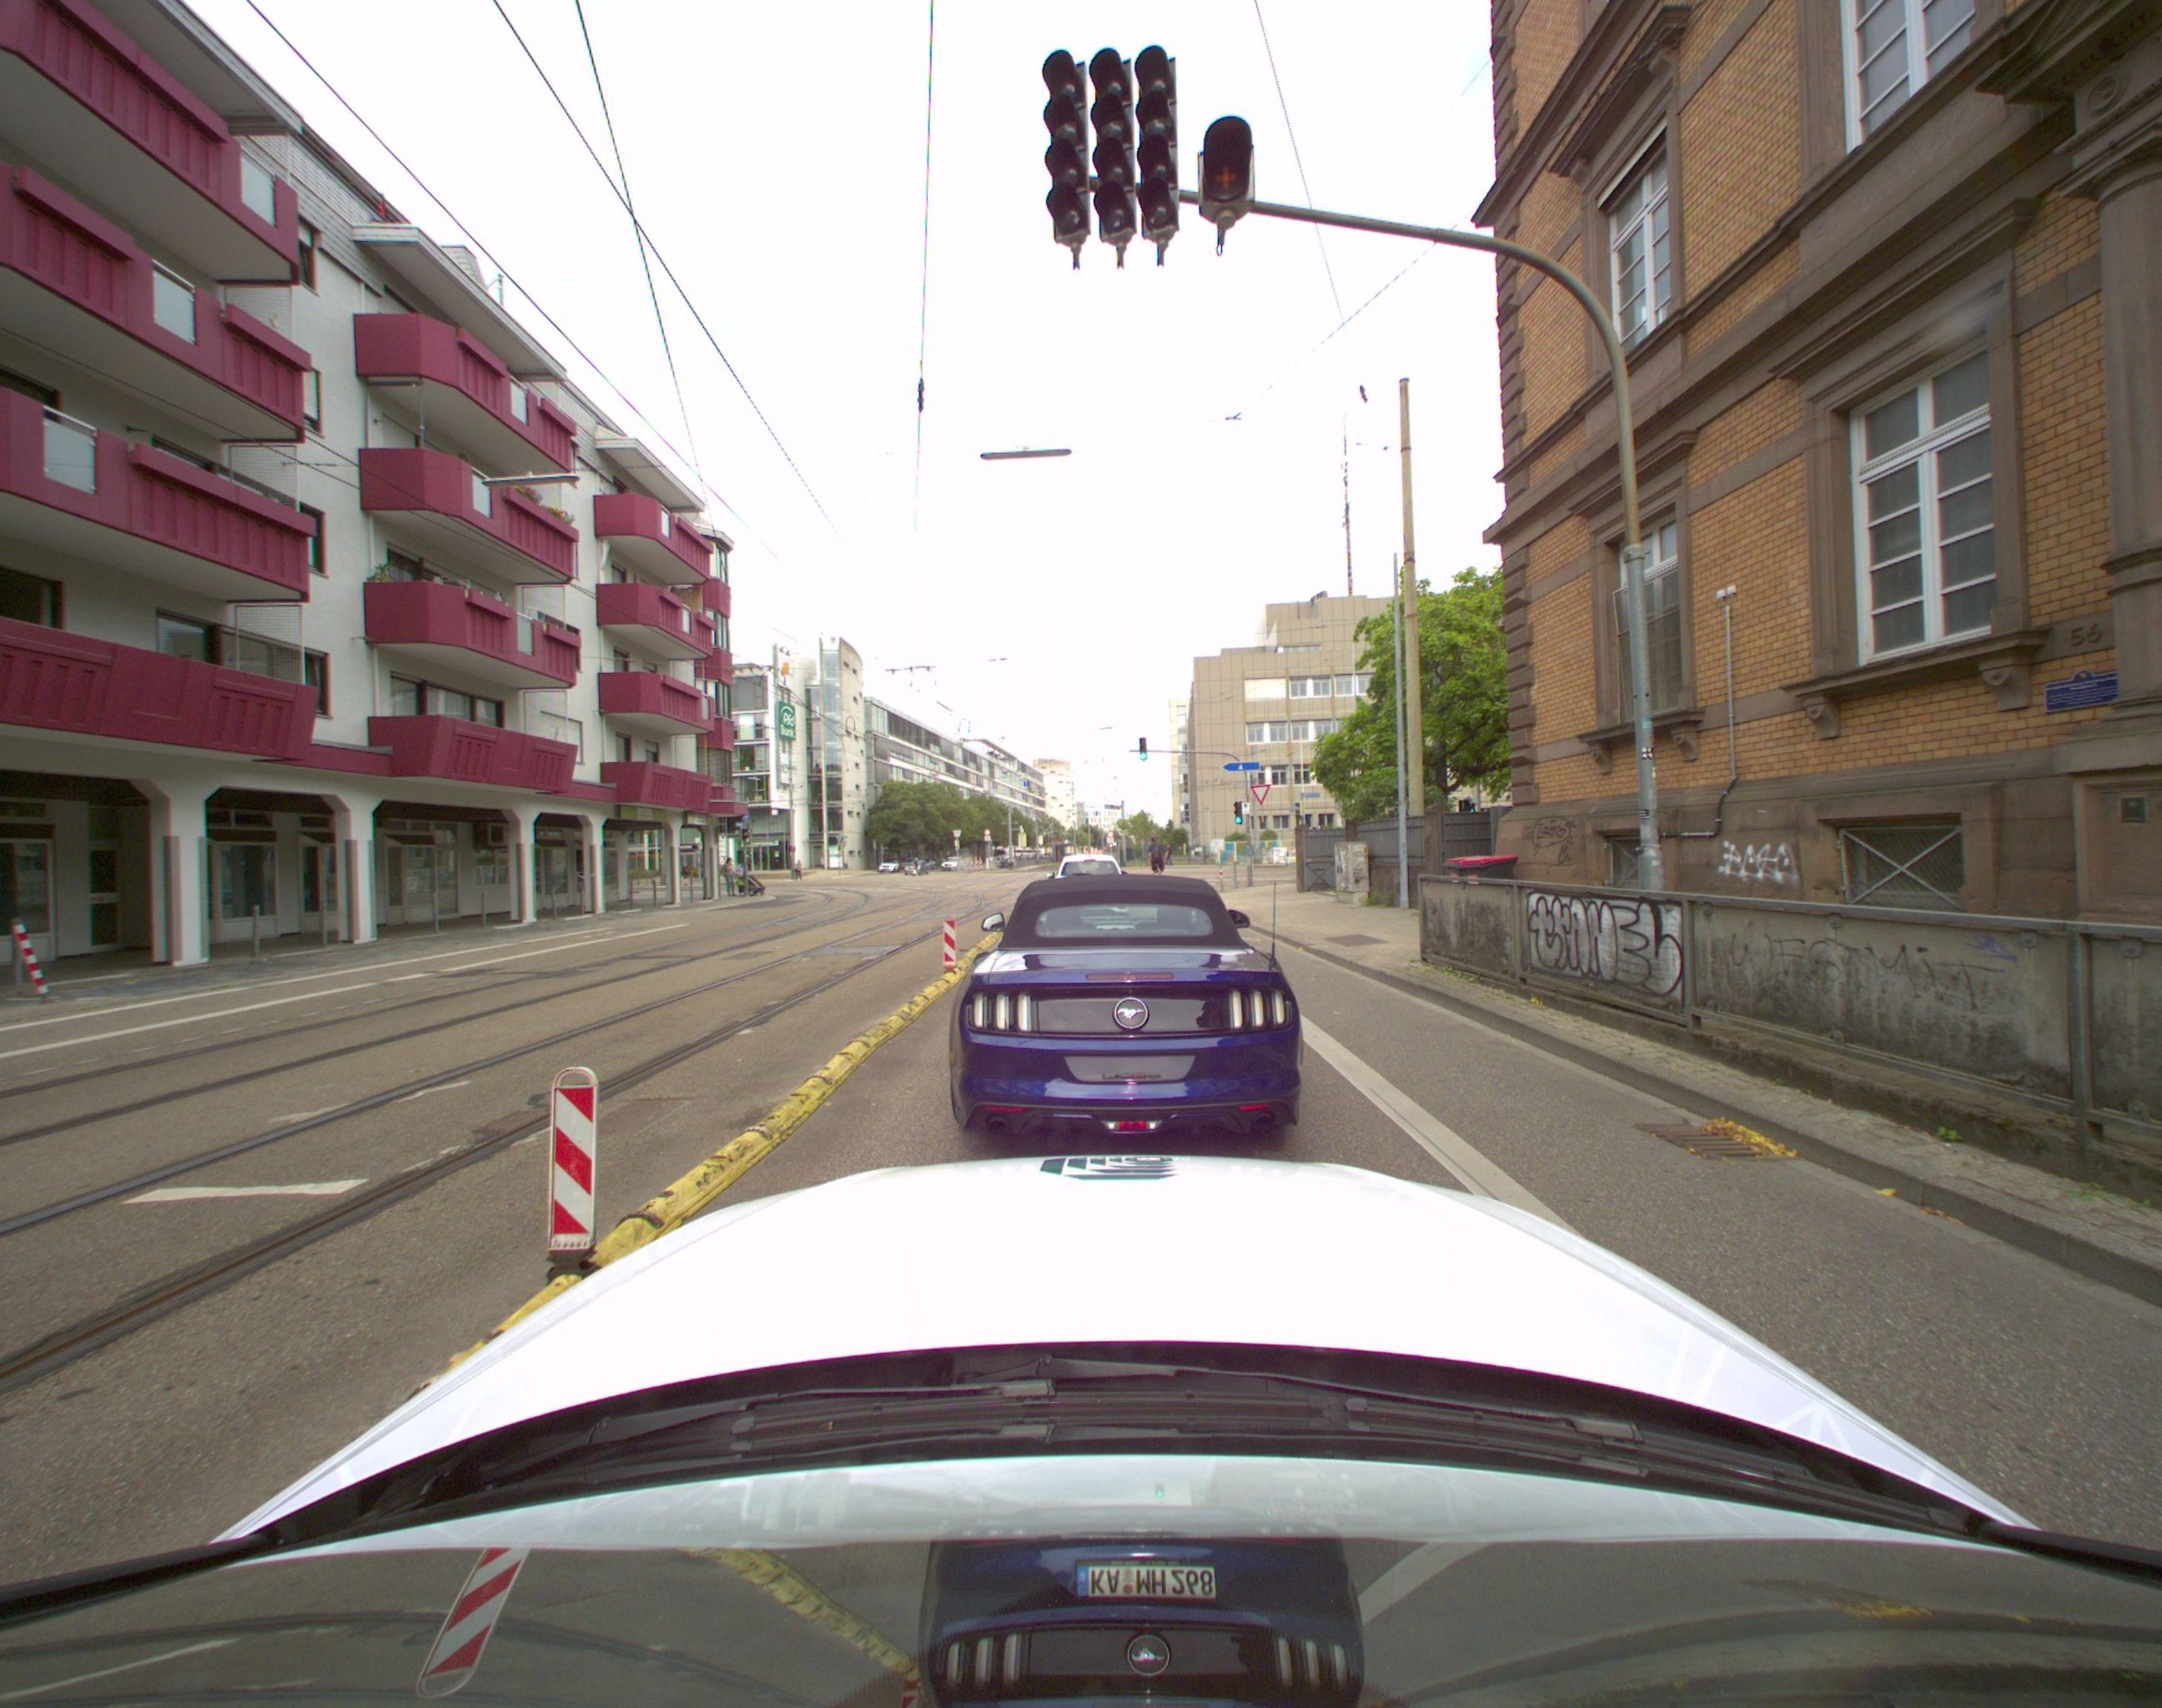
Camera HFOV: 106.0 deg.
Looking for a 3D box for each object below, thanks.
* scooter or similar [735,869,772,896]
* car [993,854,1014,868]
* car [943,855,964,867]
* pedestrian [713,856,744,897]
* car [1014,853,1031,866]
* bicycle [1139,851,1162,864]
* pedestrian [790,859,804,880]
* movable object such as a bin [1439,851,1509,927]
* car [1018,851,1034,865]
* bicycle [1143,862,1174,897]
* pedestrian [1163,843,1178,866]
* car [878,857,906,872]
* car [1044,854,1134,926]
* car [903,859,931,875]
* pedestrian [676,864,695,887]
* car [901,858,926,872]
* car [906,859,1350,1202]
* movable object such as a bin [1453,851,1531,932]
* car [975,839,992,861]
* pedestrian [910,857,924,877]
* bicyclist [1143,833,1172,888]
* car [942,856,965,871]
[{"bbox_3d":[-14.337,1.247,35.692,1.192,1.128,0.946,-1,0,-1],"label":"scooter or similar"},{"bbox_3d":[-9.279,0.796,97.672,1.872,1.628,4.089,-2,0,2],"label":"car"},{"bbox_3d":[-18.299,0.974,116.998,1.978,1.556,4.516,0,0,3],"label":"car"},{"bbox_3d":[-15.426,0.960,35.632,0.945,1.743,0.811,-2,0,-2],"label":"pedestrian"},{"bbox_3d":[-8.011,0.703,111.187,1.861,1.605,4.214,-2,0,2],"label":"car"},{"bbox_3d":[6.171,0.313,72.496,0.637,0.981,2.133,-2,-2,-40],"label":"bicycle"},{"bbox_3d":[-25.416,1.367,72.932,0.828,1.865,0.769,-2,0,14],"label":"pedestrian"},{"bbox_3d":[6.045,0.524,12.556,0.649,1.082,0.677,-5,-1,-4],"label":"movable object such as a bin"},{"bbox_3d":[-7.830,0.555,116.354,1.778,1.987,4.123,-2,0,2],"label":"car"},{"bbox_3d":[2.601,0.829,27.589,0.798,1.086,2.131,-2,0,0],"label":"bicycle"},{"bbox_3d":[7.769,0.032,70.524,1.077,1.898,0.906,-2,0,17],"label":"pedestrian"},{"bbox_3d":[-21.230,1.191,91.603,1.820,1.556,4.223,0,0,6],"label":"car"},{"bbox_3d":[0.087,0.744,19.049,1.831,1.439,4.183,-2,0,-2],"label":"car"},{"bbox_3d":[-16.789,1.345,83.567,1.659,1.506,4.242,0,0,6],"label":"car"},{"bbox_3d":[-28.531,1.545,58.737,0.928,1.671,0.769,-2,0,14],"label":"pedestrian"},{"bbox_3d":[-20.259,1.306,98.834,1.820,1.556,4.223,0,0,6],"label":"car"},{"bbox_3d":[0.277,0.765,5.594,1.869,1.404,4.284,-1,0,2],"label":"car"},{"bbox_3d":[5.963,0.528,11.841,0.662,1.082,0.700,-5,-1,-3],"label":"movable object such as a bin"},{"bbox_3d":[-16.213,-0.619,135.985,1.978,3.636,4.516,0,0,3],"label":"car"},{"bbox_3d":[-15.576,1.258,77.275,0.983,1.855,0.904,-2,0,8],"label":"pedestrian"},{"bbox_3d":[2.569,0.219,27.453,0.793,1.785,1.233,-2,0,0],"label":"bicyclist"},{"bbox_3d":[-15.288,1.092,97.490,1.706,1.660,4.140,0,0,6],"label":"car"}]
